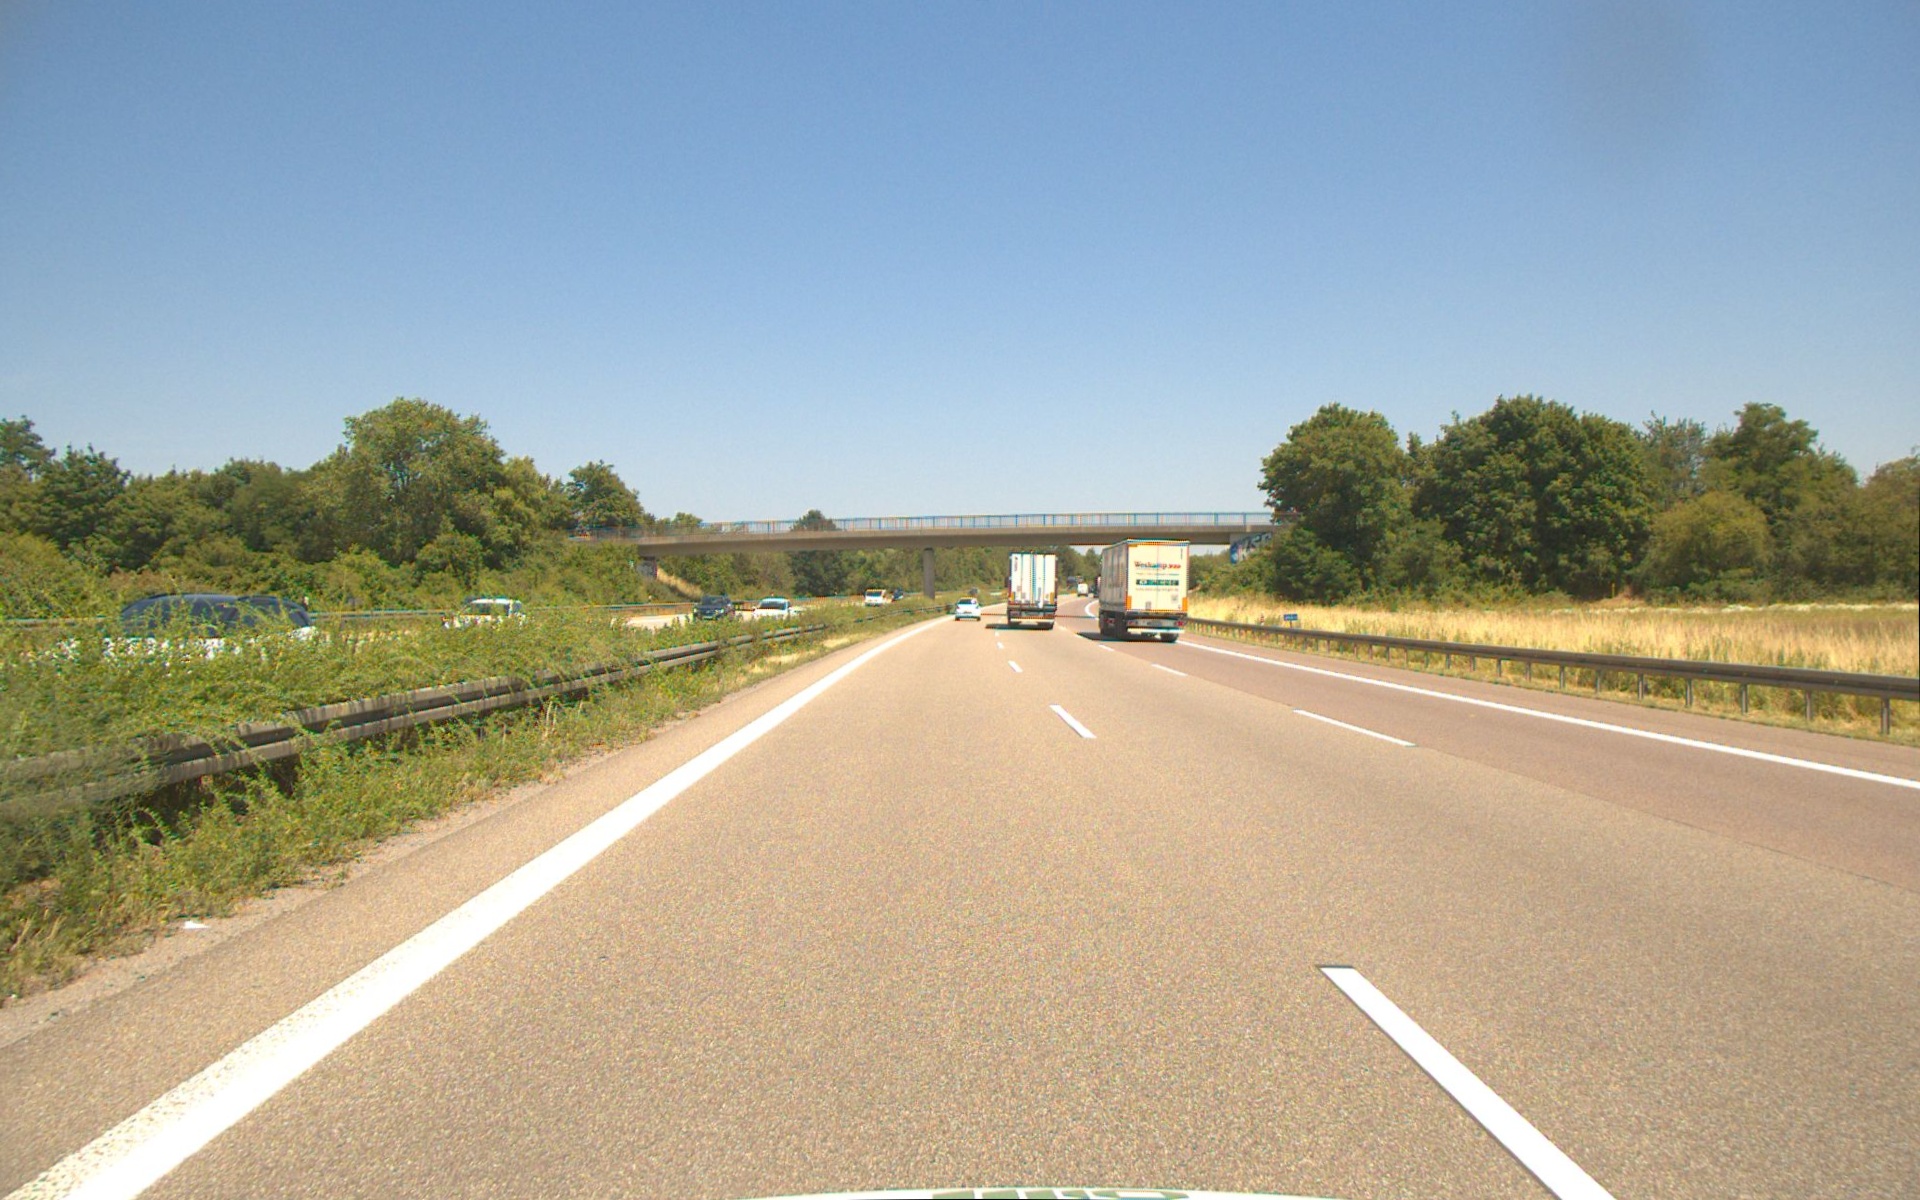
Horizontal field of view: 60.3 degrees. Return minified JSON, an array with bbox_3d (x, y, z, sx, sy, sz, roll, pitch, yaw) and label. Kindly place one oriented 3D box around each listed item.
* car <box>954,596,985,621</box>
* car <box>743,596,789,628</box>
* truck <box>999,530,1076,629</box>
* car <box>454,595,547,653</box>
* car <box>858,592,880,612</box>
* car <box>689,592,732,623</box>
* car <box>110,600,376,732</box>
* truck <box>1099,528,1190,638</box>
[{"bbox_3d":[0.661,0.567,112.260,1.789,1.574,4.321,1,0,4],"label":"car"},{"bbox_3d":[-9.418,0.585,80.658,1.649,1.516,4.728,0,0,0],"label":"car"},{"bbox_3d":[4.203,-1.157,93.631,3.591,5.106,16.017,1,1,0],"label":"truck"},{"bbox_3d":[-13.454,0.680,48.667,1.667,1.588,4.376,0,0,-2],"label":"car"},{"bbox_3d":[-9.554,0.208,173.843,1.790,2.049,5.331,1,0,1],"label":"car"},{"bbox_3d":[-13.133,0.410,87.219,1.611,1.588,4.066,0,0,0],"label":"car"},{"bbox_3d":[-9.414,0.814,22.129,1.773,1.588,4.402,0,0,-2],"label":"car"},{"bbox_3d":[8.015,-0.781,74.025,3.114,4.379,16.025,1,1,3],"label":"truck"}]
